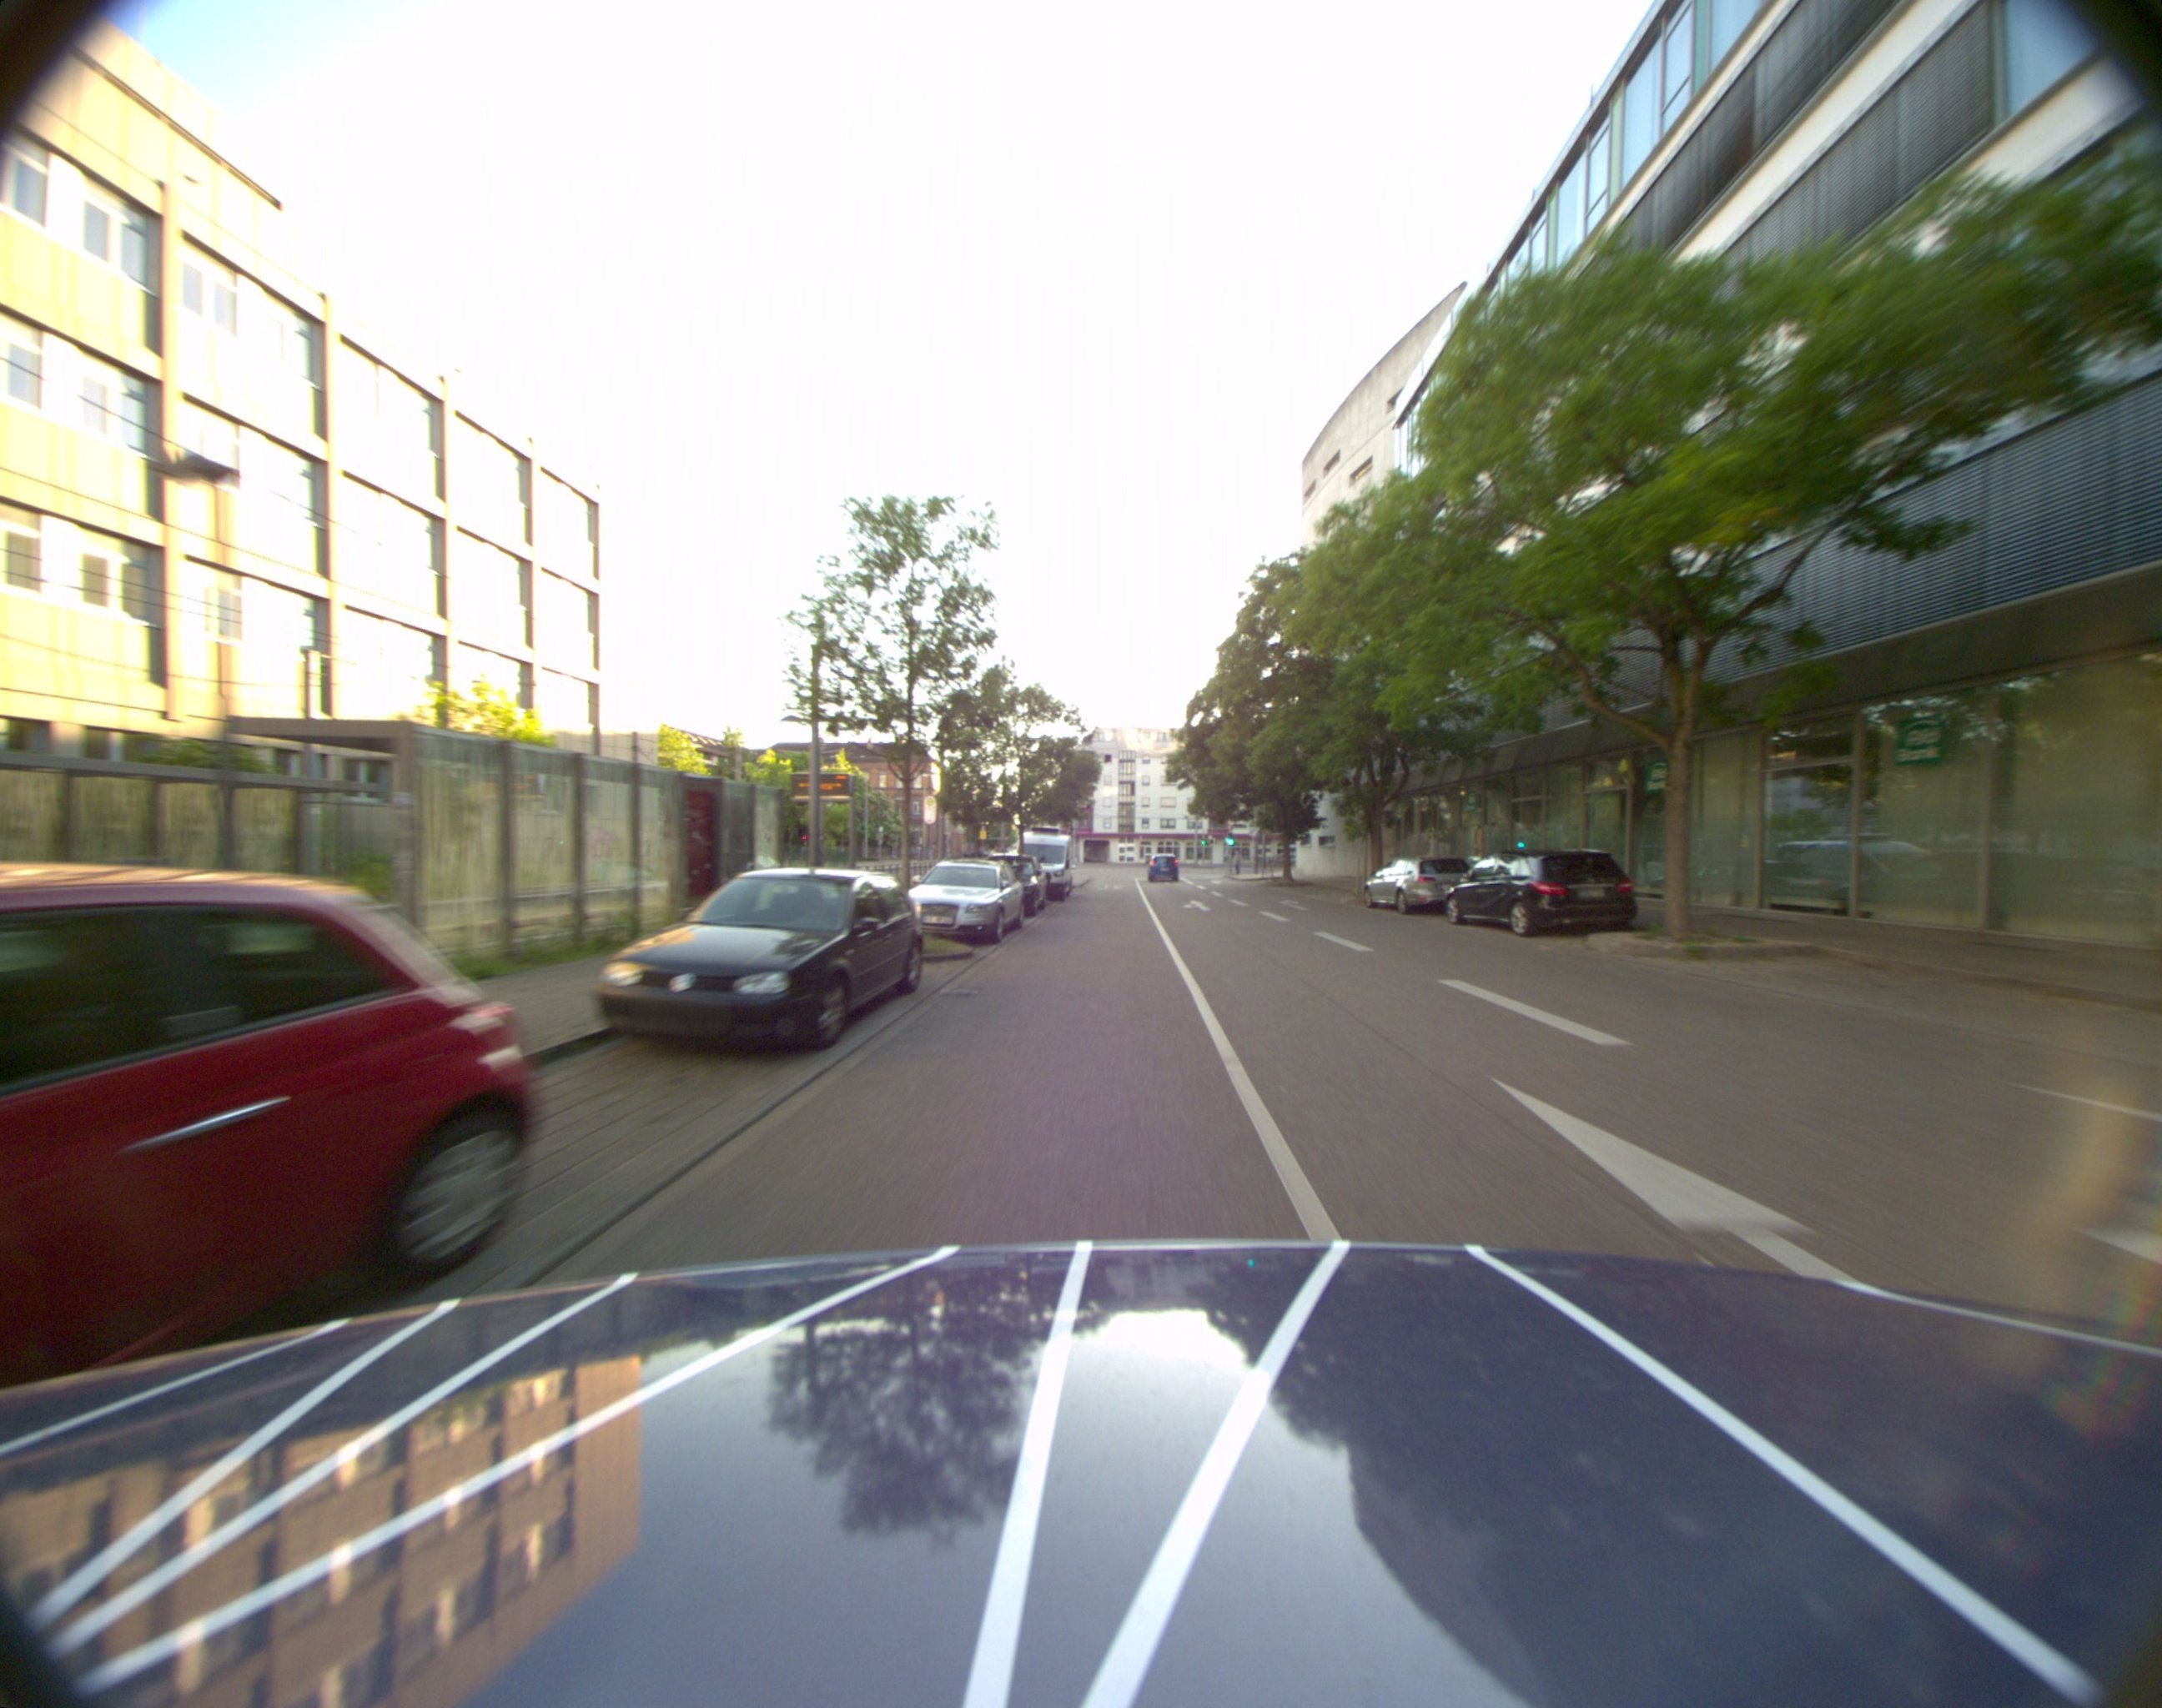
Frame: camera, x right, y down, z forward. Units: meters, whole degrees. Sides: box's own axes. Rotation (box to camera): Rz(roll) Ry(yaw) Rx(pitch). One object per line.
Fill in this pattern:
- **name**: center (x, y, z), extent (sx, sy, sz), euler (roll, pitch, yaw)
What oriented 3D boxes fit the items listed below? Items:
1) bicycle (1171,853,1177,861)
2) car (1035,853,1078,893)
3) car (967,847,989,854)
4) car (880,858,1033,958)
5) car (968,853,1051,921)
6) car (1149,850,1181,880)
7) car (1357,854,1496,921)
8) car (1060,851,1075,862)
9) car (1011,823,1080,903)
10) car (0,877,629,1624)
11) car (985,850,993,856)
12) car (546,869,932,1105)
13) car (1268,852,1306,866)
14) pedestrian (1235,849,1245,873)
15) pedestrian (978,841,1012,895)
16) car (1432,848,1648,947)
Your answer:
- **bicycle**: center (11.471, 0.344, 93.998), extent (0.515, 1.040, 1.903), euler (0, 1, 0)
- **car**: center (-1.061, 0.809, 34.672), extent (1.752, 1.574, 4.012), euler (3, 1, 0)
- **car**: center (-22.436, -0.857, 165.484), extent (4.705, 1.477, 1.905), euler (0, 1, -9)
- **car**: center (-2.220, 0.899, 14.958), extent (1.800, 1.487, 4.782), euler (3, 1, 4)
- **car**: center (-1.905, 0.833, 21.506), extent (1.711, 1.634, 4.267), euler (2, 1, 2)
- **car**: center (5.064, 0.636, 46.219), extent (1.752, 1.668, 4.274), euler (-1, 1, 4)
- **car**: center (8.879, 0.782, 20.002), extent (1.707, 1.453, 4.627), euler (-3, 0, 3)
- **car**: center (-1.899, 0.285, 105.101), extent (2.006, 1.448, 4.296), euler (0, 1, -1)
- **car**: center (-1.226, 0.281, 28.785), extent (2.056, 2.642, 5.434), euler (3, 1, 2)
- **car**: center (-3.188, 0.911, 1.721), extent (1.711, 1.484, 4.131), euler (2, 1, 2)
- **car**: center (-22.943, -0.373, 189.760), extent (1.787, 1.448, 4.293), euler (0, 1, -8)
- **car**: center (-2.770, 0.959, 7.253), extent (1.711, 1.443, 4.000), euler (2, 1, 2)
- **car**: center (24.020, 0.529, 88.644), extent (4.098, 1.587, 1.666), euler (0, 1, 3)
- **pedestrian**: center (11.604, 0.495, 55.441), extent (0.545, 1.691, 0.709), euler (1, 1, 30)
- **pedestrian**: center (-3.216, 0.505, 28.517), extent (0.981, 2.002, 0.805), euler (-1, 2, -42)
- **car**: center (8.542, 0.705, 14.663), extent (1.593, 1.559, 4.472), euler (-3, 0, 3)
